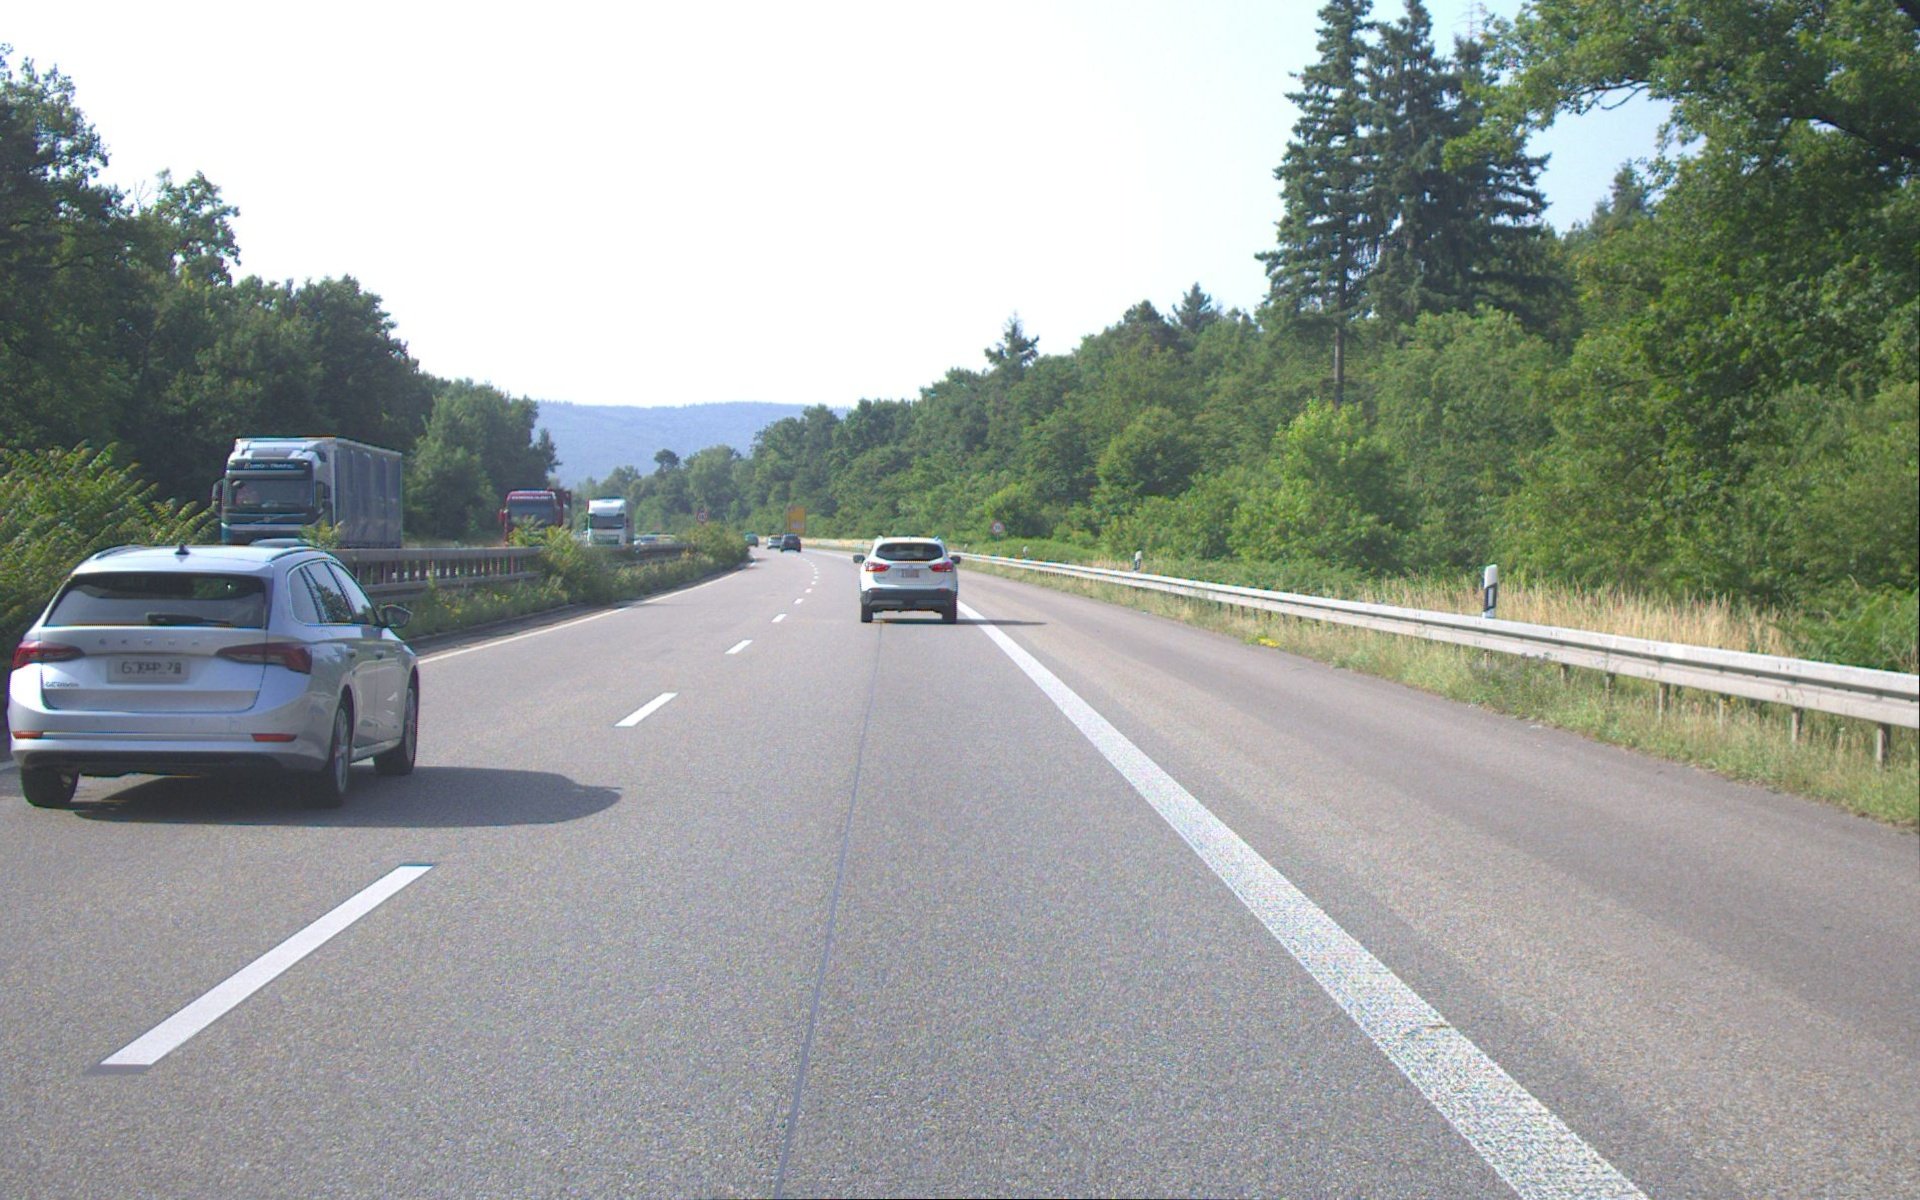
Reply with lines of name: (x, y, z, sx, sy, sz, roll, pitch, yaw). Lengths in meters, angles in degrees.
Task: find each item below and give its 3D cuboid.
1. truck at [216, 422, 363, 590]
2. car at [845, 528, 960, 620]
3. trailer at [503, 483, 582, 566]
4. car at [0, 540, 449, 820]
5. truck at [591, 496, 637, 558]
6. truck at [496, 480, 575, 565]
truck: (-17.343, -2.413, 89.233, 2.709, 4.186, 6.294, 0, 1, -2)
car: (-1.109, -0.509, 64.213, 1.873, 1.581, 4.001, 2, 1, -4)
trailer: (-20.938, -3.741, 172.866, 3.294, 4.025, 8.375, 1, 1, -3)
car: (-4.340, 0.373, 20.556, 1.792, 1.433, 5.279, 0, 1, 0)
truck: (-23.543, -4.957, 234.008, 2.837, 4.181, 5.547, 0, 1, -3)
truck: (-20.676, -3.764, 167.765, 3.266, 4.025, 6.234, 1, 0, -3)
